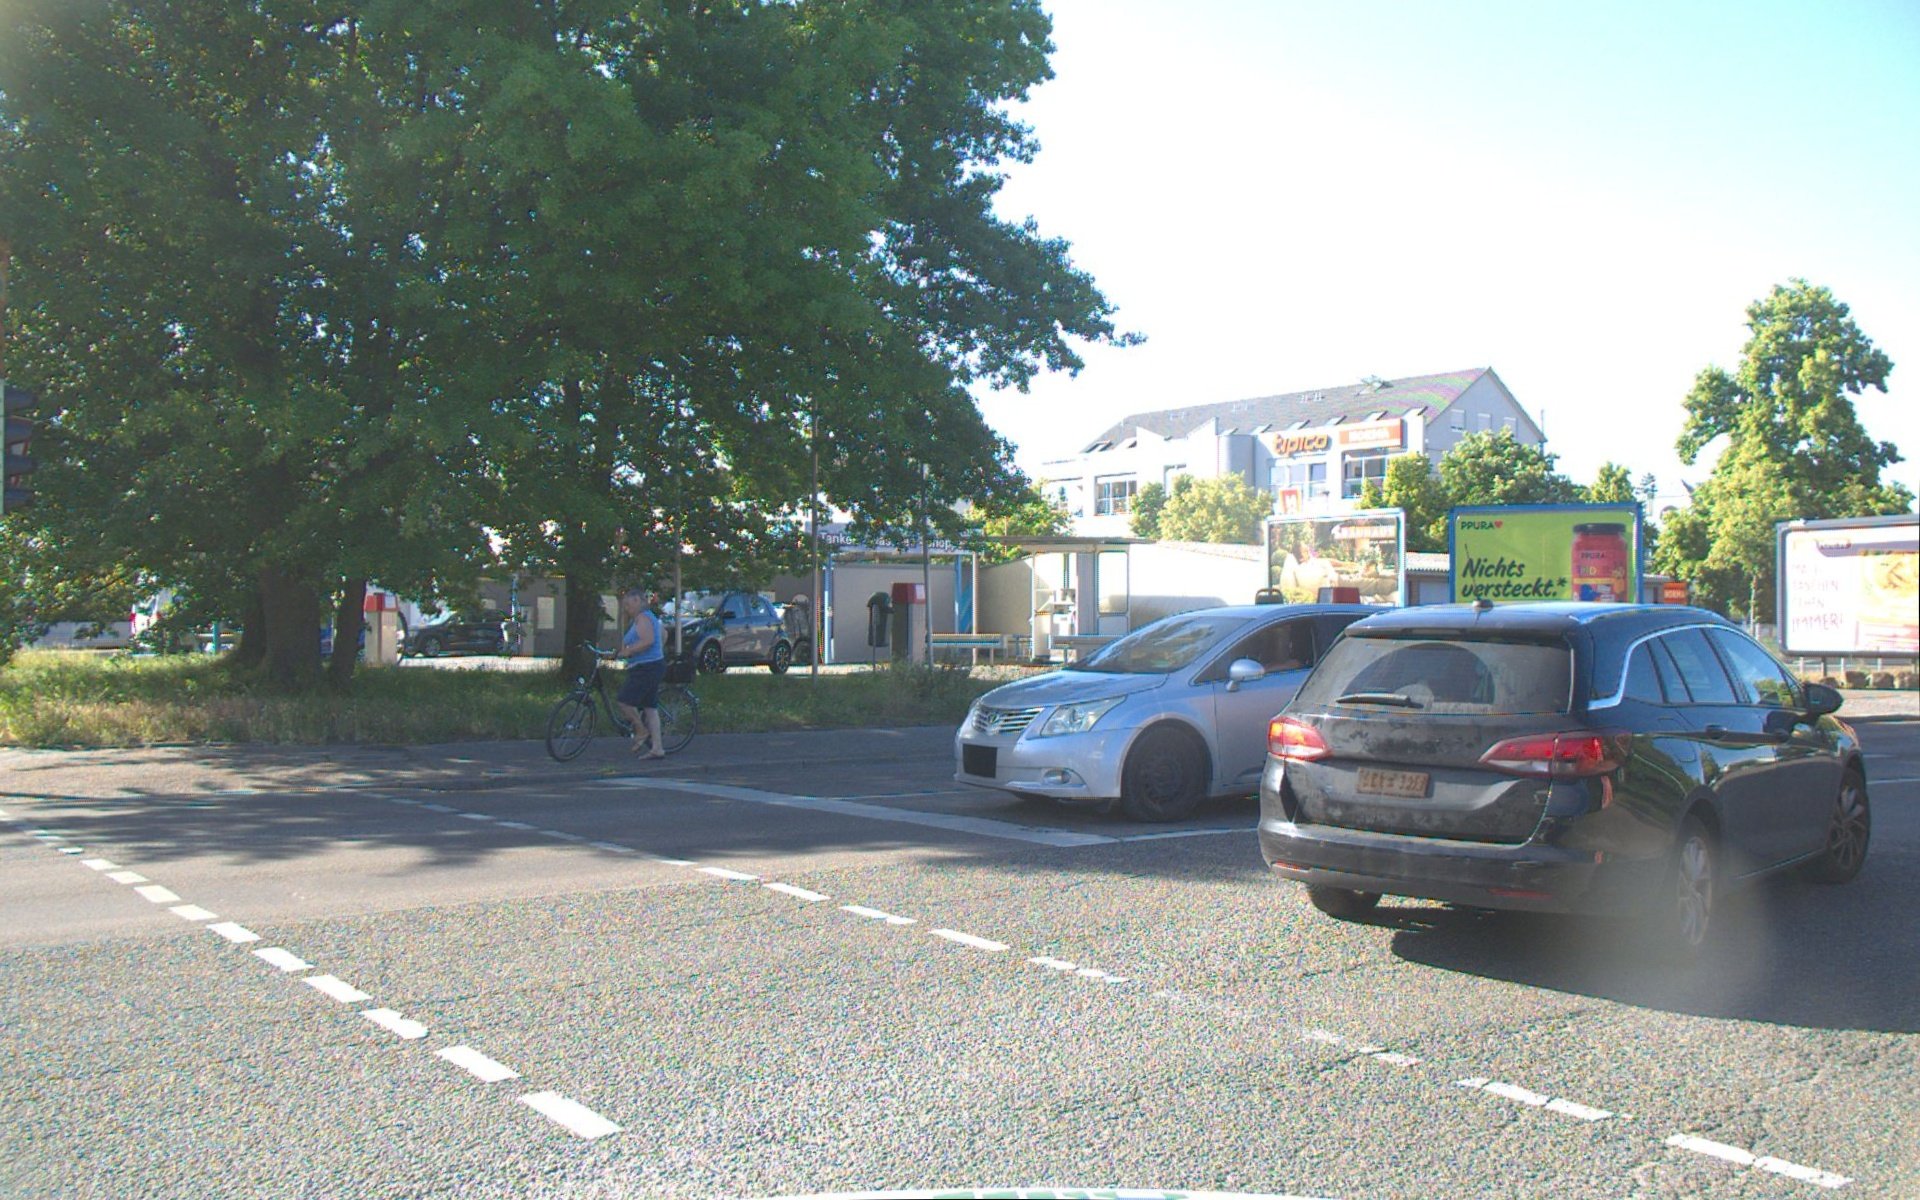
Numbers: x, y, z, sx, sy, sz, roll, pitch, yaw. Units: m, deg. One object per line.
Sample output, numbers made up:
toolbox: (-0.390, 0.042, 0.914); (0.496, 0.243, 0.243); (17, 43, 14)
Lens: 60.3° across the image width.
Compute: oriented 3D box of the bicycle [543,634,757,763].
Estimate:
bicycle: (-2.971, 0.918, 15.961); (2.003, 1.161, 0.522); (0, -1, -36)

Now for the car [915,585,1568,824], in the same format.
car: (2.203, 0.689, 12.501); (4.821, 1.515, 1.824); (0, -2, -30)

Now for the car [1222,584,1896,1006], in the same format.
car: (3.171, 0.722, 8.159); (1.735, 1.517, 4.266); (1, 0, 41)

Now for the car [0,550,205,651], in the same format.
car: (-20.917, 0.044, 38.654); (5.603, 2.136, 1.970); (3, -3, -41)

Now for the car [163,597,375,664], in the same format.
car: (-15.279, 0.704, 36.715); (1.764, 1.359, 3.982); (-1, -3, 37)

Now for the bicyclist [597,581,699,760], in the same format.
bicyclist: (-3.007, 0.663, 15.954); (0.820, 1.670, 0.536); (0, -1, -36)

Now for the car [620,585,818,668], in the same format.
car: (-4.415, 0.533, 30.899); (1.719, 1.400, 3.996); (0, -3, 25)

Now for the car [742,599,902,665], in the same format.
car: (-3.703, 0.881, 44.750); (3.967, 1.635, 1.969); (3, -3, -43)

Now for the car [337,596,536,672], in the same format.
car: (-11.468, 0.780, 36.440); (1.503, 1.538, 3.980); (-1, -3, 39)
